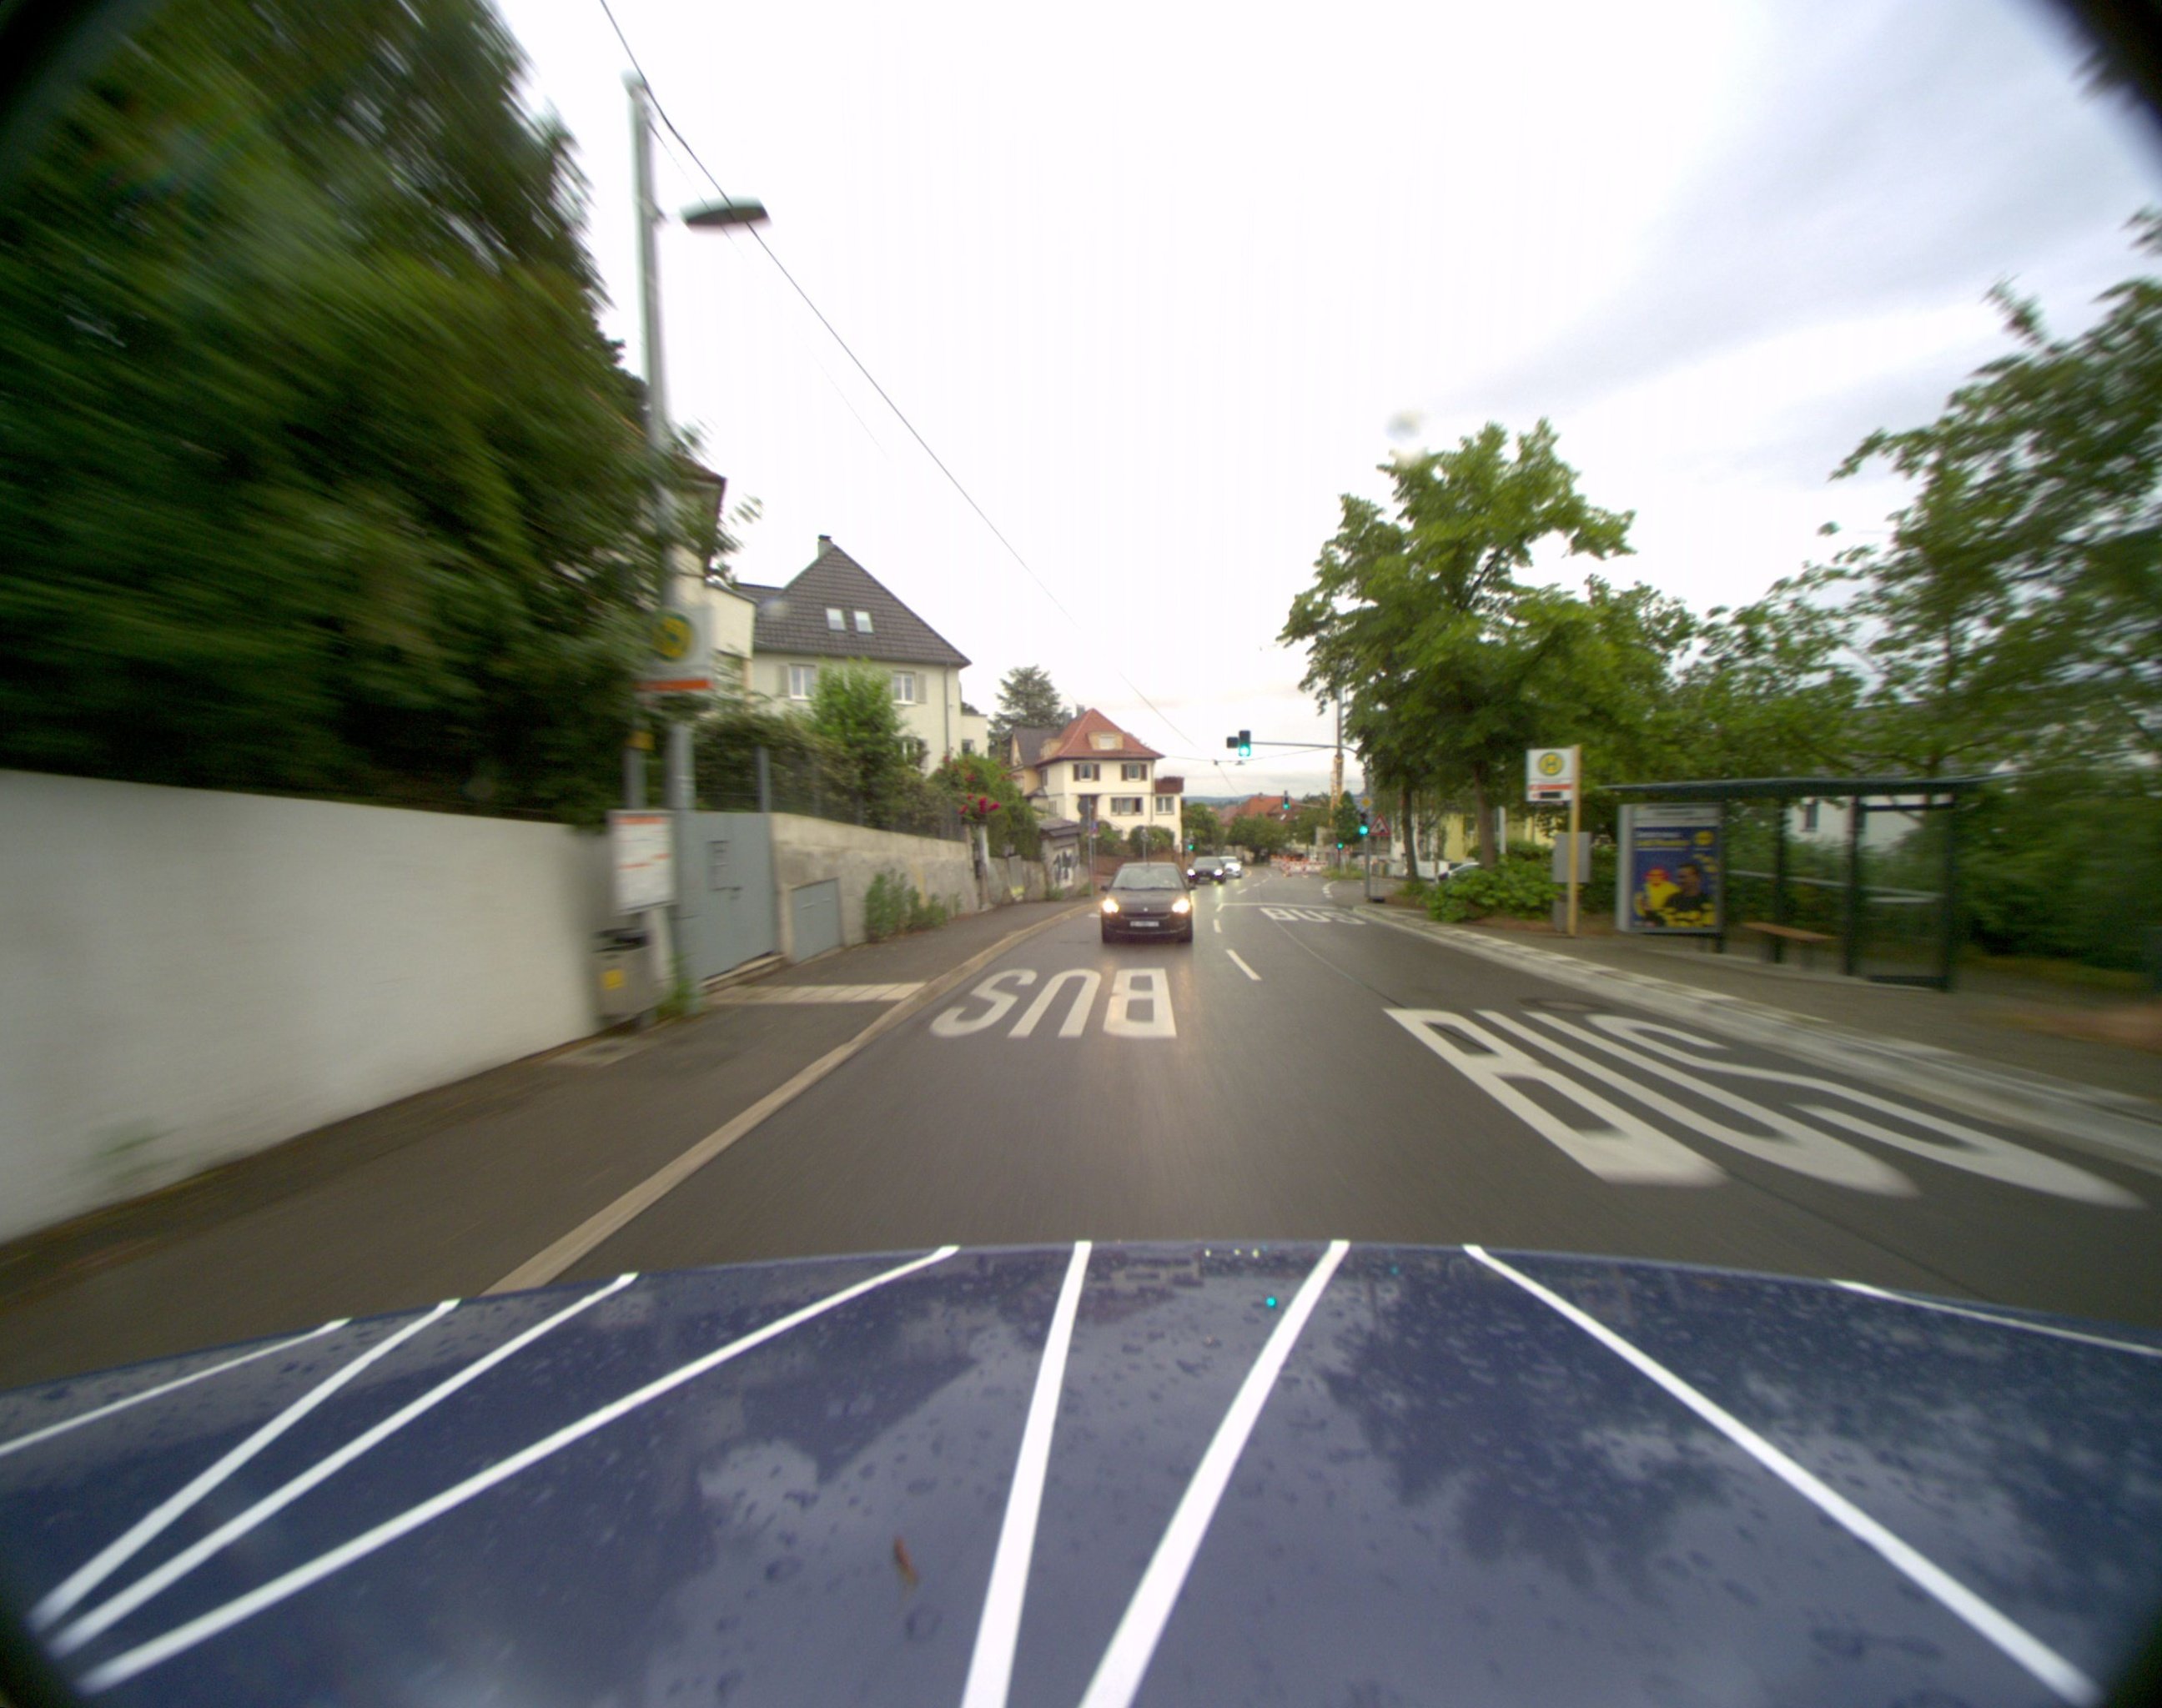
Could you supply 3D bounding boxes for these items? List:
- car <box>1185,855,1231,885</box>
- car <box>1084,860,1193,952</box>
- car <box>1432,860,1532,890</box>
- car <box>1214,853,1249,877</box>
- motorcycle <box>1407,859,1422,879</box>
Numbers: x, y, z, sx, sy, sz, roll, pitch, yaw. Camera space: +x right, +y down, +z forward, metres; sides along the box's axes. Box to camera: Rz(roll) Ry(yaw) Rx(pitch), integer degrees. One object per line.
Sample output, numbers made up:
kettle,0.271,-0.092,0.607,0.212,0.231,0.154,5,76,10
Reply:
car,6.897,0.829,40.968,2.028,1.454,4.004,-2,0,15
car,1.255,0.913,15.221,1.803,1.418,4.385,-3,0,7
car,20.116,1.003,38.279,1.966,1.407,4.015,0,0,-30
car,11.186,0.803,56.406,2.028,1.619,4.233,-1,0,18
motorcycle,19.463,0.896,44.408,0.473,1.138,1.423,0,0,10
